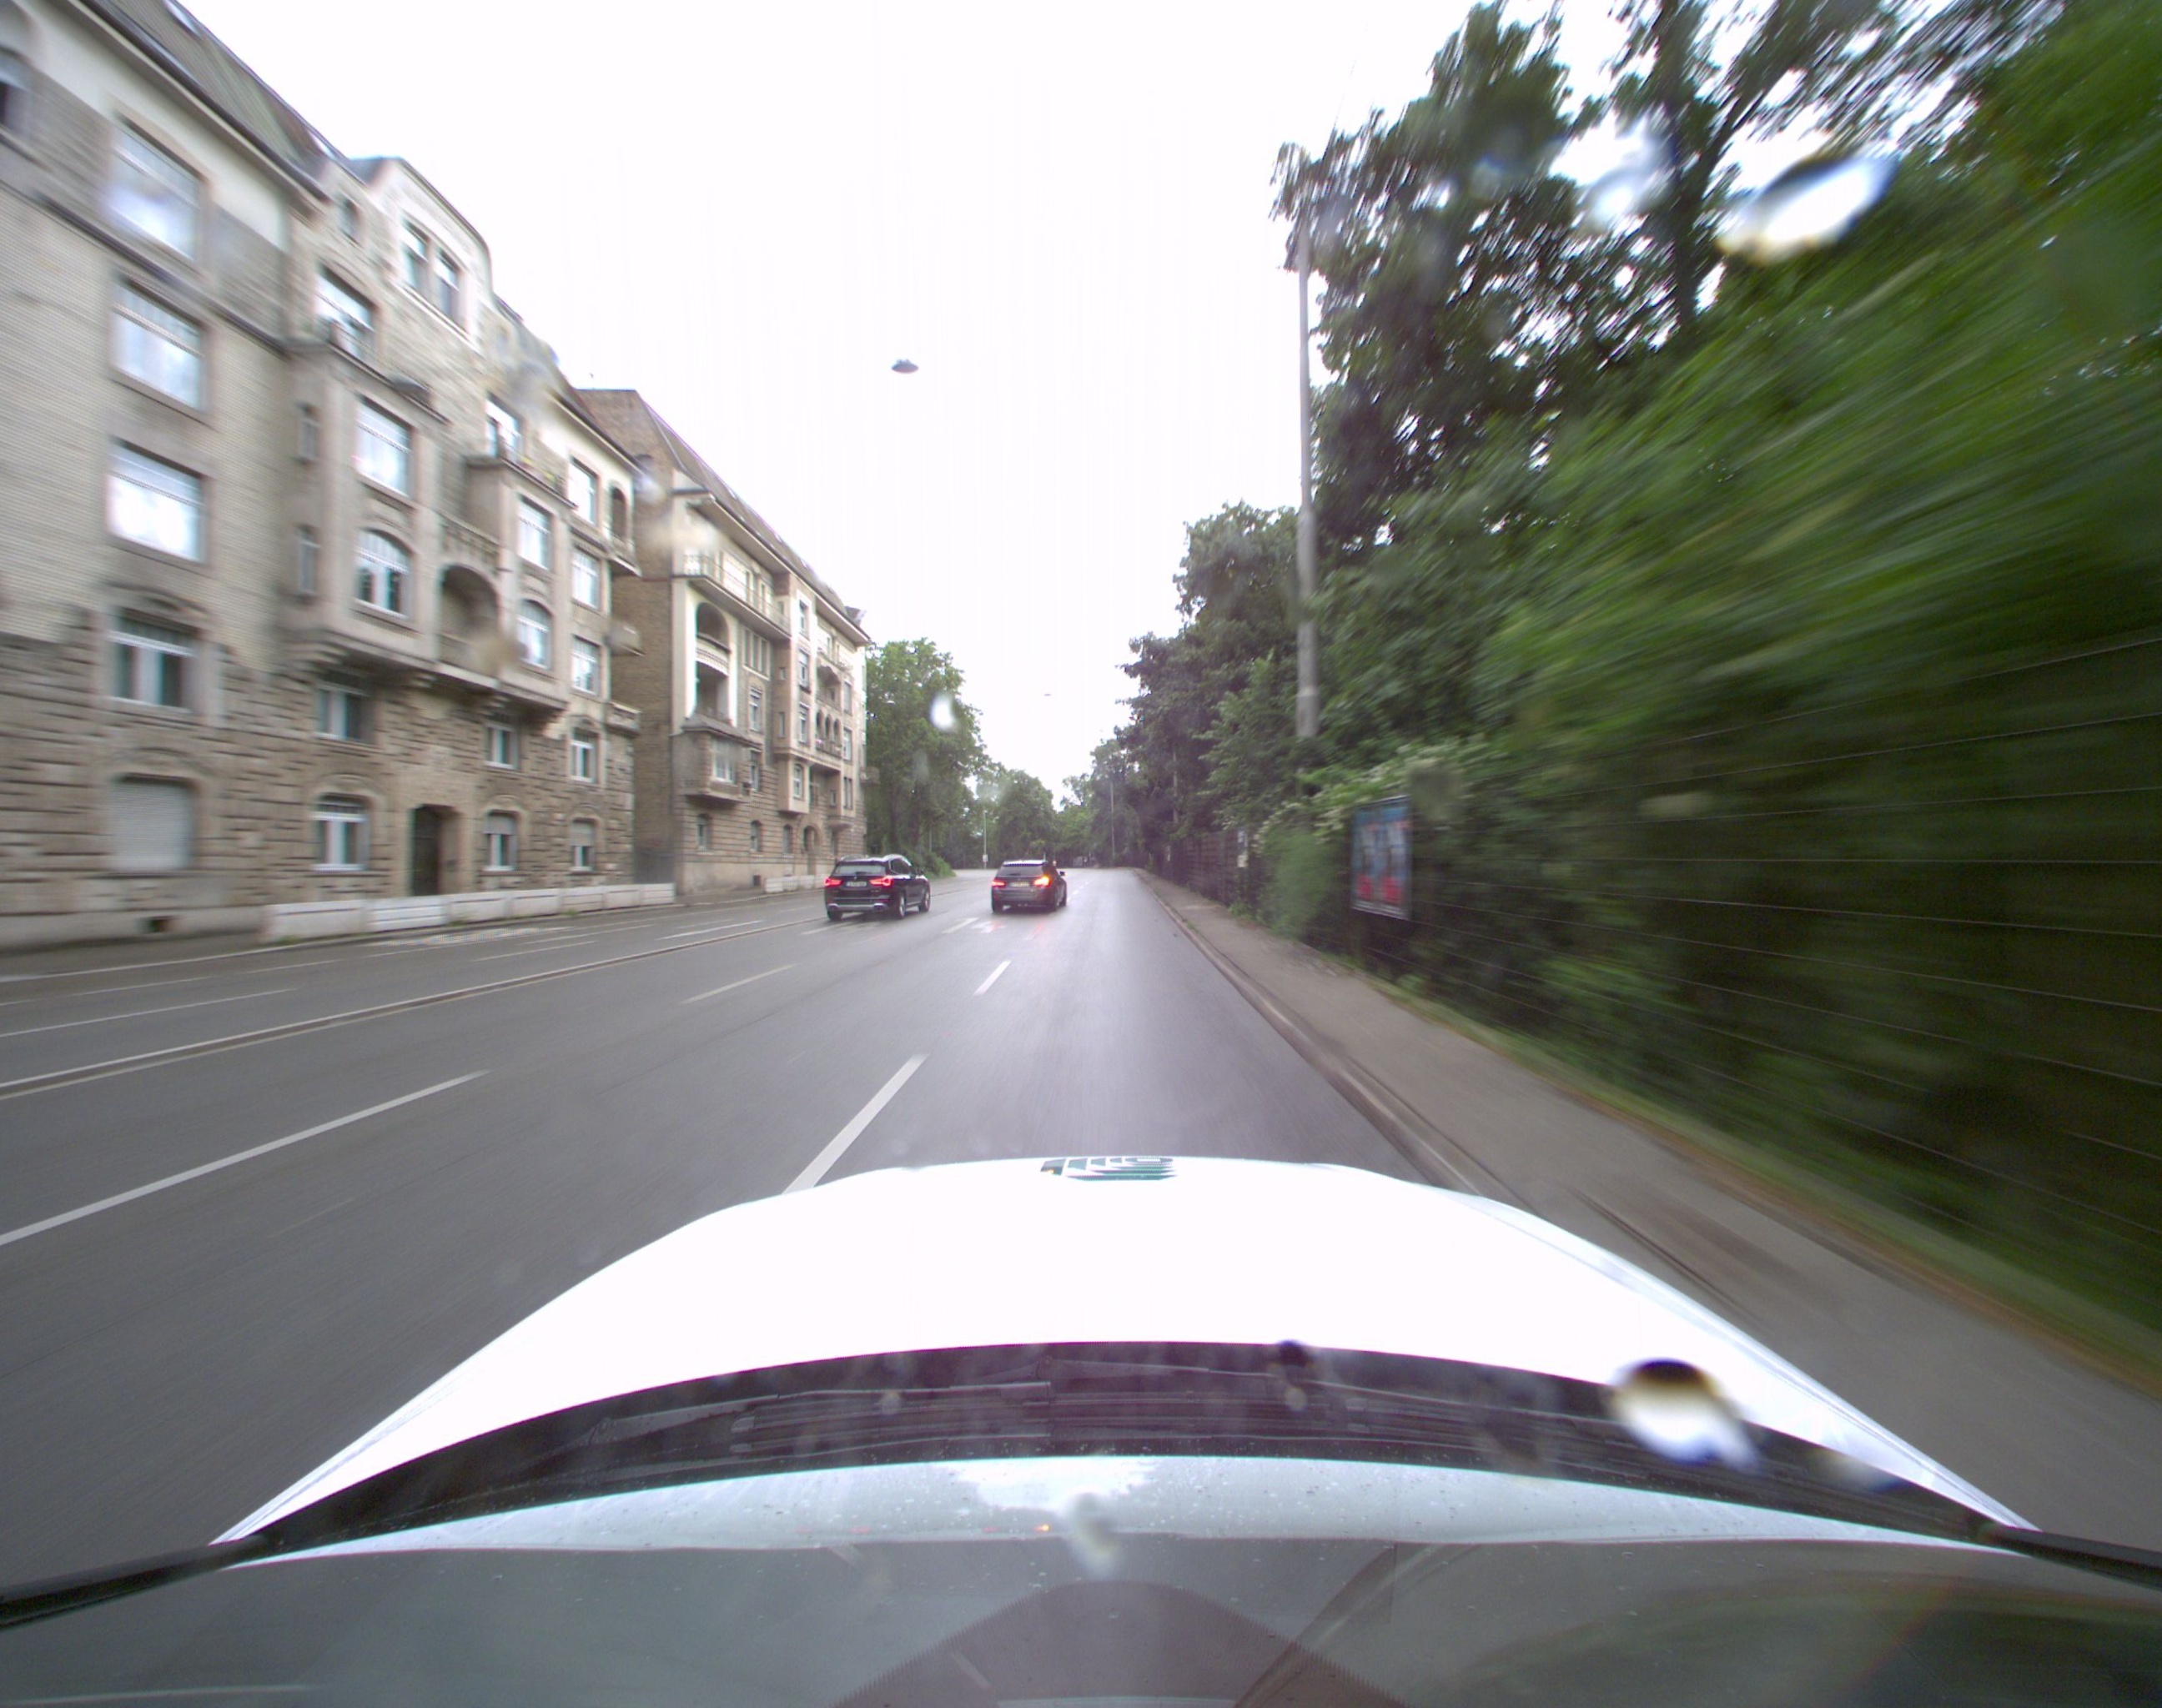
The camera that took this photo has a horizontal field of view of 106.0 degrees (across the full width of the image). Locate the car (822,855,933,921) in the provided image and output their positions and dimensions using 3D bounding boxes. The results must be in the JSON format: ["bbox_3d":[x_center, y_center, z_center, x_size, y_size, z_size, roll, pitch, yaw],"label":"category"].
[{"bbox_3d":[-5.294,0.832,21.794,1.751,1.586,4.413,0,0,1],"label":"car"}]

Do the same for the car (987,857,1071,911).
[{"bbox_3d":[-1.425,0.830,23.948,1.749,1.432,4.419,0,-1,5],"label":"car"}]

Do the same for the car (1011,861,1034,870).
[{"bbox_3d":[-10.405,2.091,144.423,1.702,1.427,4.316,4,-4,-45],"label":"car"}]
